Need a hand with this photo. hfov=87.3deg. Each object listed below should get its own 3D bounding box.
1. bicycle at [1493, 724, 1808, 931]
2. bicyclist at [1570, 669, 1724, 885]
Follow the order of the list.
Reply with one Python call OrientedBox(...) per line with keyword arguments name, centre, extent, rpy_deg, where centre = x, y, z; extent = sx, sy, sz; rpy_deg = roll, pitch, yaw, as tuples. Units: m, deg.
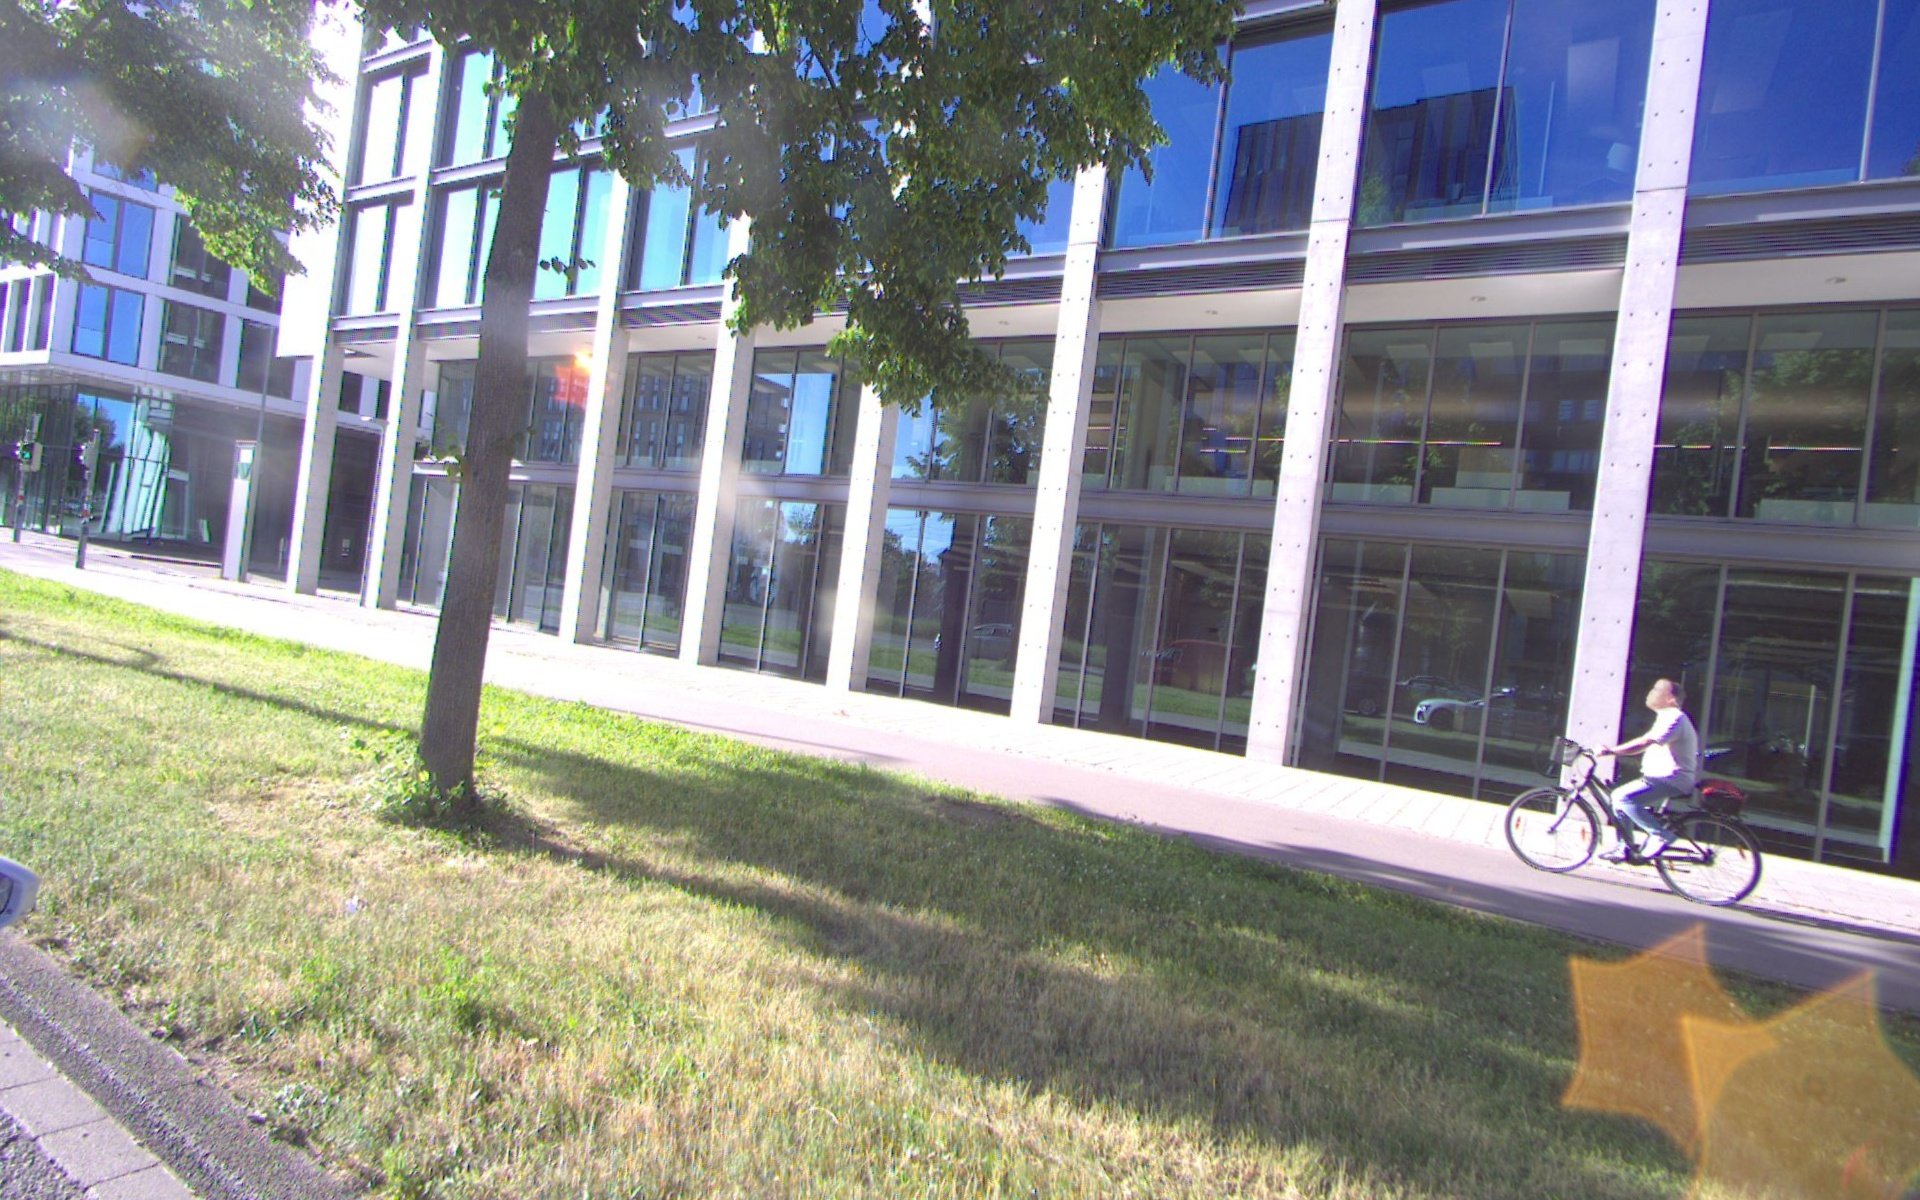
OrientedBox(name="bicycle", centre=(5.540, 1.777, 8.235), extent=(1.929, 1.189, 0.742), rpy_deg=(7, 1, 32))
OrientedBox(name="bicyclist", centre=(5.575, 1.398, 8.226), extent=(0.835, 1.550, 0.772), rpy_deg=(7, 0, 31))
